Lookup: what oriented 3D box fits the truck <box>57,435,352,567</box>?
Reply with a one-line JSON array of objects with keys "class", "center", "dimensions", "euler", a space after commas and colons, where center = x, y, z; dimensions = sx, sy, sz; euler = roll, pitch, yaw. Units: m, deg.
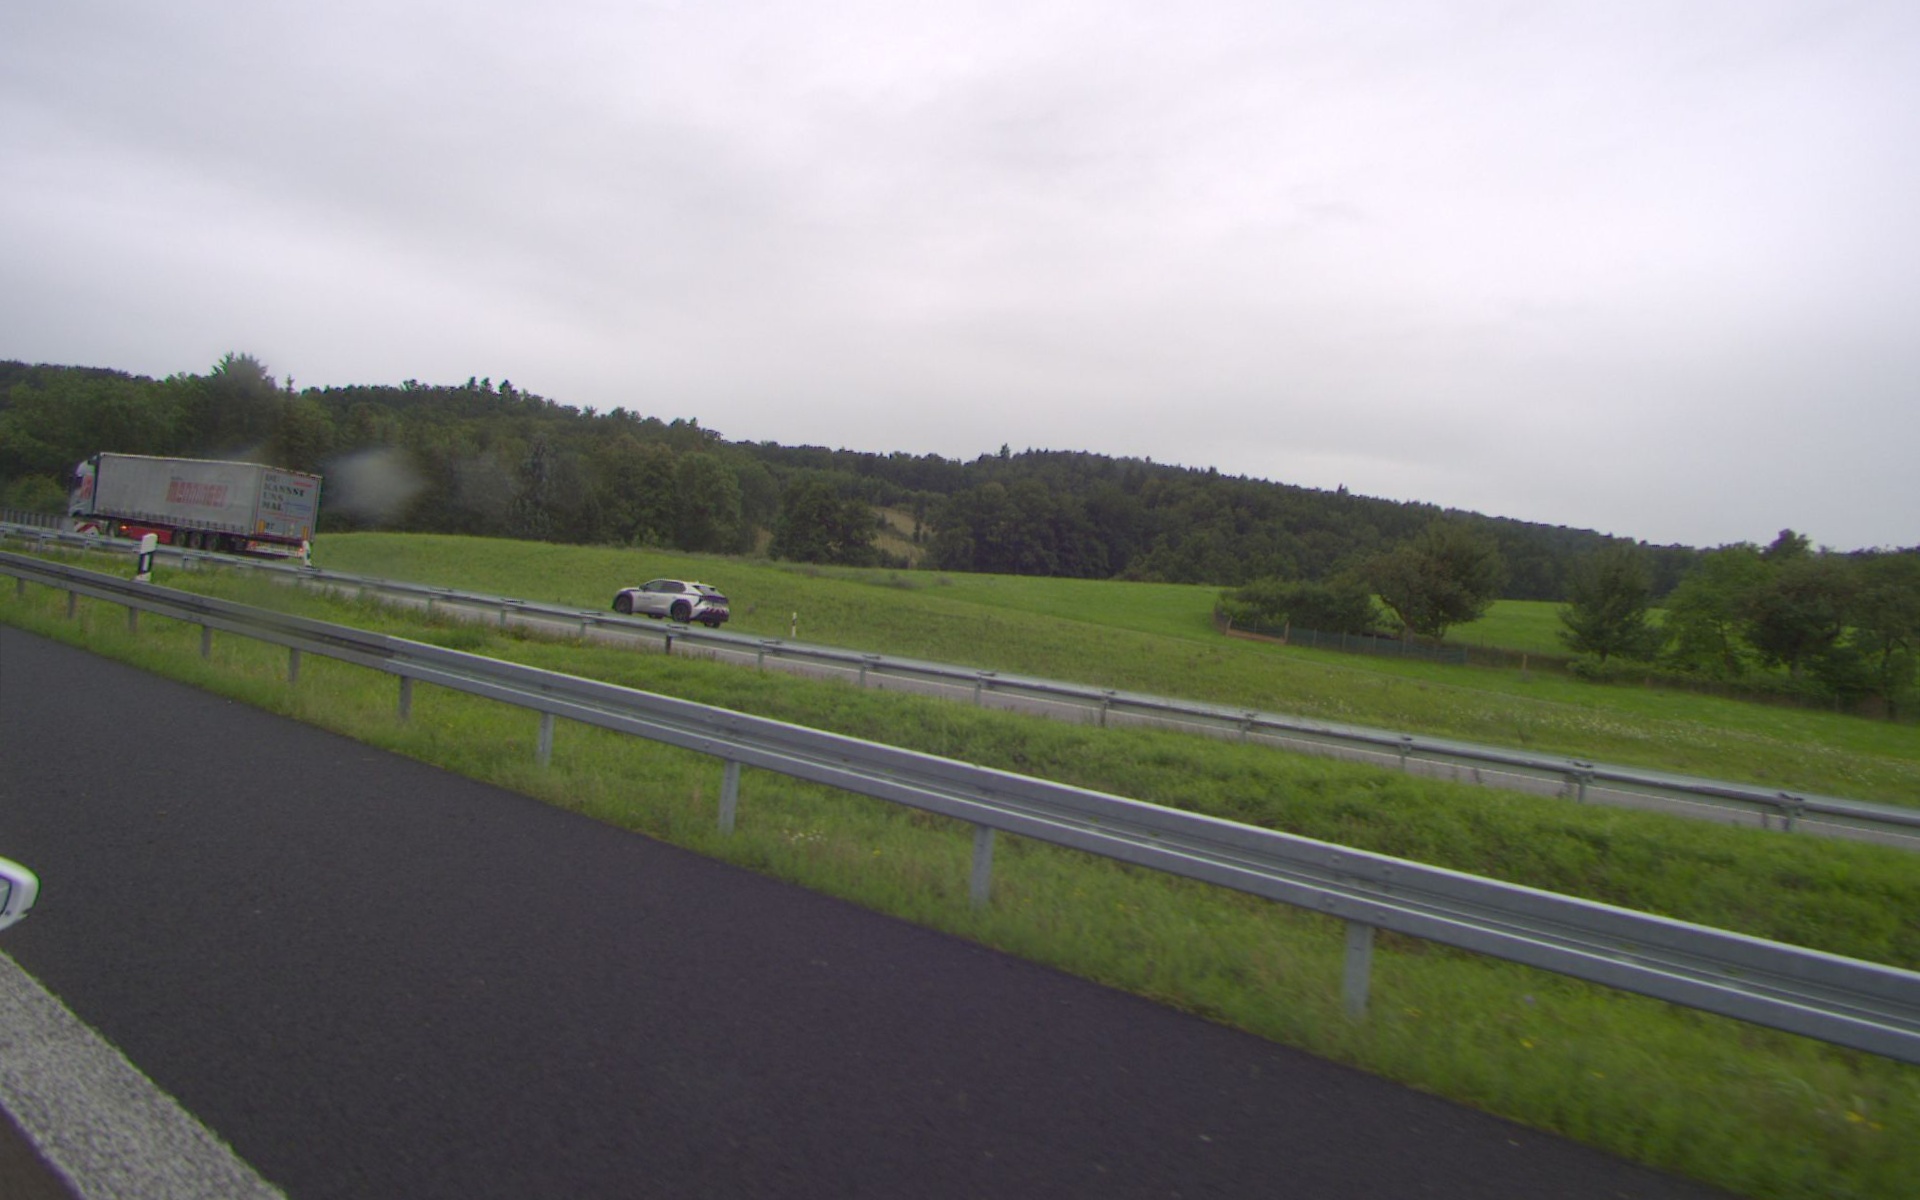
[{"class": "truck", "center": [-35.173, -4.719, 46.438], "dimensions": [16.590, 4.595, 3.830], "euler": [6, -1, 28]}]

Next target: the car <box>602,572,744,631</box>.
[{"class": "car", "center": [-10.491, 0.039, 36.722], "dimensions": [4.943, 1.522, 1.824], "euler": [7, -1, 27]}]
